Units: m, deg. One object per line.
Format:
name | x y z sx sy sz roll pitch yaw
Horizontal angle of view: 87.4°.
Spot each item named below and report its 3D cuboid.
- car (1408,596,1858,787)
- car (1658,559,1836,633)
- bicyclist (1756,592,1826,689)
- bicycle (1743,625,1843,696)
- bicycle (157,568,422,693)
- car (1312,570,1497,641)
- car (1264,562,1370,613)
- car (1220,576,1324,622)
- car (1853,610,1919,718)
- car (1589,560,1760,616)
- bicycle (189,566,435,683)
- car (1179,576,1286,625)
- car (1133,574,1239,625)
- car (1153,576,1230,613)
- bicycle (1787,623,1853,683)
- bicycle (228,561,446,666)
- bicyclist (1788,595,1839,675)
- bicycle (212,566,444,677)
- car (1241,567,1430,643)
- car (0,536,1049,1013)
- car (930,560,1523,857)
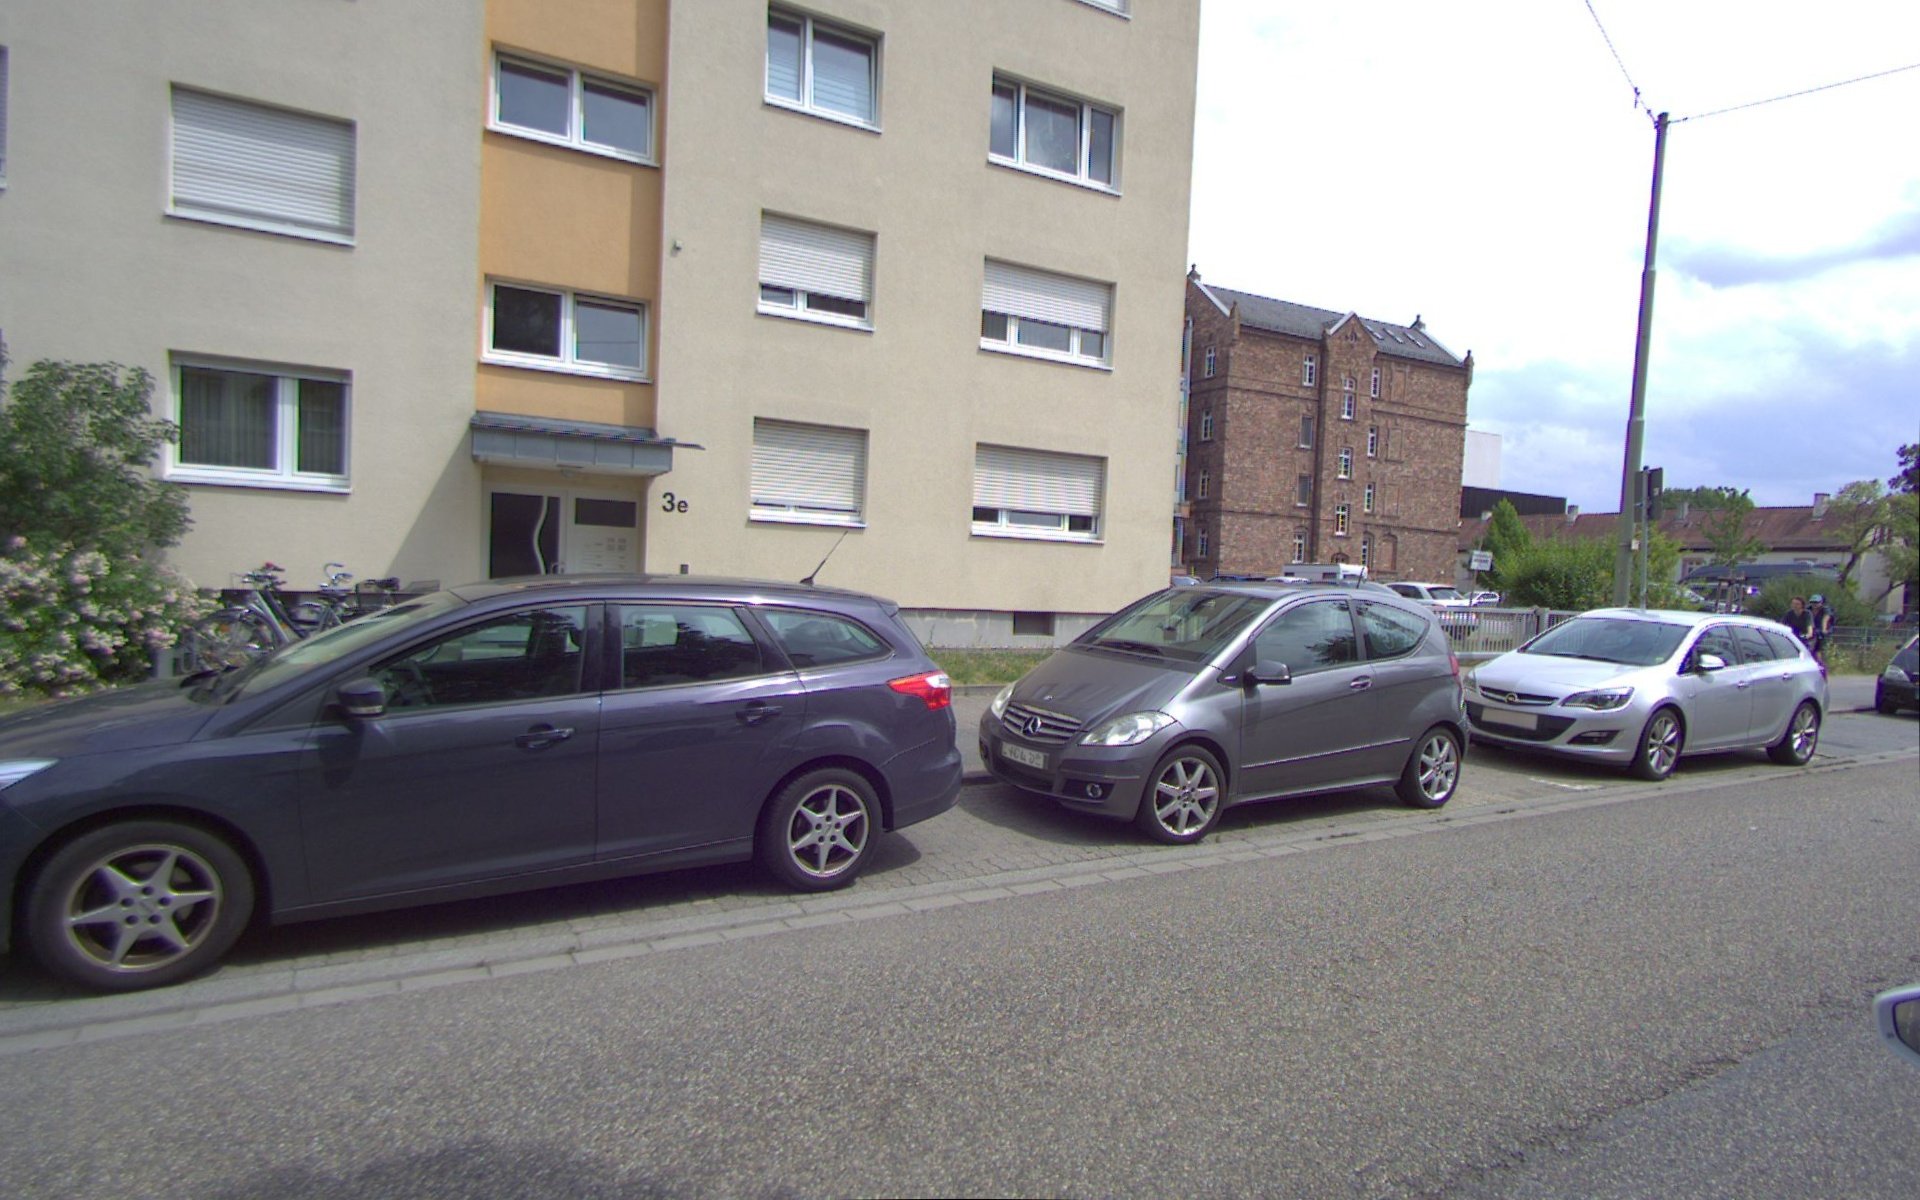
car | 6.957 0.824 10.301 4.577 1.508 1.877 2 2 -29
car | 27.191 -0.178 34.880 1.975 2.380 4.390 1 2 -28
bicyclist | 14.738 0.716 17.807 1.034 1.675 0.535 1 1 -26
bicycle | 14.823 1.060 17.862 2.064 1.190 0.539 2 1 -26
bicycle | -6.261 0.272 9.508 2.034 1.100 0.460 1 2 -28
car | 11.757 0.089 26.854 1.975 1.707 4.154 1 2 -28
car | 20.208 -0.745 57.090 2.424 2.658 5.462 2 2 -26
car | 12.983 -0.065 42.008 1.911 1.818 3.973 2 0 -26
car | 16.064 1.036 15.825 3.815 1.564 1.777 2 2 -30
car | 23.520 -0.425 33.227 1.975 1.707 4.154 1 2 -28
bicycle | -6.433 0.237 10.094 2.034 1.100 0.460 1 2 -28
car | 10.897 -0.017 40.443 1.974 1.818 3.973 2 0 -26
car | 8.698 -0.041 38.931 1.911 1.818 3.973 2 0 -26
car | 12.262 -0.303 53.421 1.911 1.818 3.973 2 0 -26
bicycle | 17.813 1.088 20.805 1.332 1.190 0.539 2 1 -27
bicycle | -6.903 0.149 11.248 2.035 1.100 0.460 1 2 -29
bicyclist | 17.540 0.715 20.650 0.683 1.606 0.534 1 1 -27
bicycle | -6.617 0.217 10.634 2.034 1.100 0.460 1 2 -28
car | 9.260 0.065 25.114 1.975 1.707 4.154 1 2 -28
car | -2.014 0.574 4.866 4.731 1.516 1.732 2 2 -31
car | 2.044 0.619 7.409 4.107 1.600 1.875 2 2 -32
